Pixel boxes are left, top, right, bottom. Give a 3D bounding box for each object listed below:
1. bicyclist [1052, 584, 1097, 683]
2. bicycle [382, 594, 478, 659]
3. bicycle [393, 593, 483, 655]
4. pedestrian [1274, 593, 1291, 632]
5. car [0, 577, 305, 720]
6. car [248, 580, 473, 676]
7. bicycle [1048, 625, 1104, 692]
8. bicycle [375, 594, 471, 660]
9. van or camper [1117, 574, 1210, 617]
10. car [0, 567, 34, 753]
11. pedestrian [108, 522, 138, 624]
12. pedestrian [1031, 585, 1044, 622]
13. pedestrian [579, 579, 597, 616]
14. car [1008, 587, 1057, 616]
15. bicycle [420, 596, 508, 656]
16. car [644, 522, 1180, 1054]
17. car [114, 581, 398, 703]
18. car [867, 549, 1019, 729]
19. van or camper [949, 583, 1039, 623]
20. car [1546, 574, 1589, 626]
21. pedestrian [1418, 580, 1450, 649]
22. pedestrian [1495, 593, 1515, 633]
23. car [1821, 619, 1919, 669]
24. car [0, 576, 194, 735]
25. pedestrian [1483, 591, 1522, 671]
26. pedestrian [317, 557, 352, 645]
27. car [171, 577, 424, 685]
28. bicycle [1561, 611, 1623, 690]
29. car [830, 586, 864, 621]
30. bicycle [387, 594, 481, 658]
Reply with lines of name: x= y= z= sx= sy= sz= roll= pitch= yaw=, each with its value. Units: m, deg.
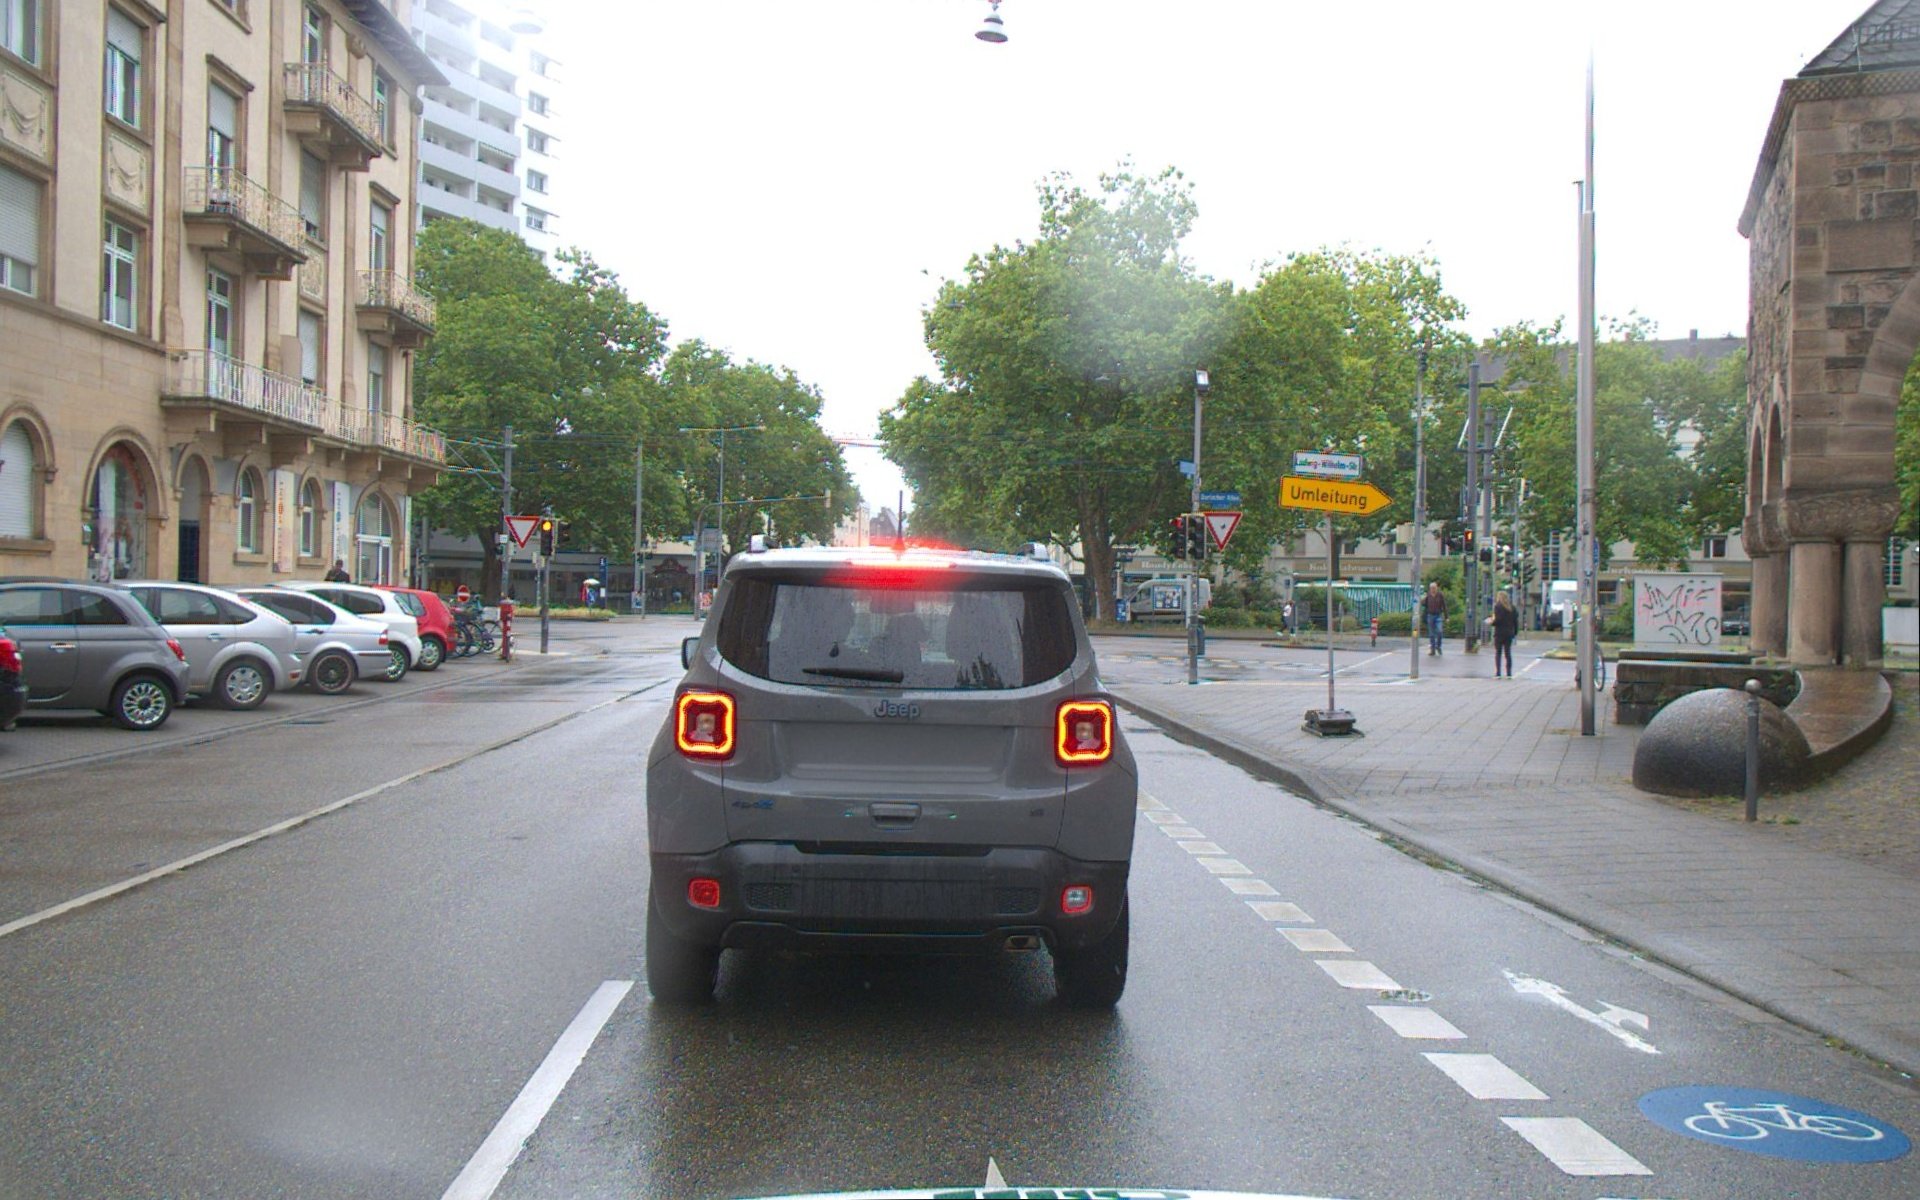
bicyclist: x=1.945 y=0.560 z=28.165 sx=0.673 sy=1.646 sz=0.883 roll=0 pitch=0 yaw=-2
bicycle: x=-10.719 y=0.528 z=33.477 sx=1.774 sy=1.288 sz=0.498 roll=0 pitch=0 yaw=-3
bicycle: x=-11.095 y=0.509 z=35.184 sx=1.728 sy=1.288 sz=0.608 roll=0 pitch=0 yaw=-3
pedestrian: x=13.475 y=0.522 z=69.193 sx=0.600 sy=1.631 sz=0.494 roll=0 pitch=0 yaw=23
car: x=-9.984 y=0.543 z=20.153 sx=3.371 sy=1.585 sz=1.681 roll=1 pitch=0 yaw=-40
car: x=-10.536 y=0.471 z=29.134 sx=3.371 sy=1.585 sz=1.681 roll=1 pitch=0 yaw=-40
bicycle: x=1.949 y=0.968 z=28.161 sx=0.678 sy=1.039 sz=2.657 roll=0 pitch=0 yaw=-2
bicycle: x=-10.692 y=0.539 z=32.931 sx=1.728 sy=1.288 sz=0.522 roll=0 pitch=0 yaw=-3
van or camper: x=11.794 y=-0.293 z=96.075 sx=5.149 sy=2.356 sz=2.091 roll=1 pitch=0 yaw=3
car: x=-10.033 y=0.504 z=14.089 sx=3.521 sy=1.626 sz=1.582 roll=1 pitch=0 yaw=-40
pedestrian: x=-15.330 y=-0.494 z=30.298 sx=0.359 sy=1.854 sz=0.347 roll=0 pitch=-1 yaw=-3
pedestrian: x=4.418 y=0.199 z=93.842 sx=0.637 sy=2.049 sz=0.483 roll=1 pitch=0 yaw=11
pedestrian: x=-18.630 y=-0.115 z=82.861 sx=0.677 sy=1.858 sz=0.621 roll=0 pitch=0 yaw=15
car: x=5.312 y=0.114 z=120.709 sx=3.363 sy=2.049 sz=1.549 roll=0 pitch=-1 yaw=12
bicycle: x=-10.806 y=0.552 z=36.067 sx=1.728 sy=1.288 sz=0.608 roll=0 pitch=0 yaw=-3
car: x=-0.210 y=0.595 z=7.305 sx=1.739 sy=1.716 sz=3.847 roll=0 pitch=0 yaw=-2
car: x=-9.926 y=0.552 z=23.417 sx=3.371 sy=1.585 sz=1.681 roll=1 pitch=0 yaw=-40
car: x=-0.236 y=0.442 z=21.007 sx=1.734 sy=2.049 sz=3.999 roll=1 pitch=0 yaw=-1
van or camper: x=2.582 y=0.229 z=125.813 sx=6.398 sy=2.963 sz=2.492 roll=1 pitch=0 yaw=26
car: x=31.395 y=-0.004 z=85.372 sx=1.868 sy=2.600 sz=4.786 roll=1 pitch=0 yaw=23
pedestrian: x=12.421 y=0.378 z=43.351 sx=0.769 sy=1.790 sz=0.946 roll=0 pitch=0 yaw=14
pedestrian: x=22.102 y=0.519 z=67.053 sx=0.660 sy=1.581 sz=0.761 roll=1 pitch=-1 yaw=27
car: x=30.726 y=1.446 z=55.277 sx=3.368 sy=1.579 sz=1.592 roll=0 pitch=0 yaw=25
car: x=-9.964 y=0.541 z=17.150 sx=3.371 sy=1.585 sz=1.629 roll=1 pitch=0 yaw=-40
pedestrian: x=11.585 y=0.654 z=35.306 sx=0.766 sy=1.674 sz=0.655 roll=0 pitch=0 yaw=19
pedestrian: x=-14.712 y=0.019 z=38.897 sx=0.556 sy=2.049 sz=0.654 roll=1 pitch=0 yaw=-1
car: x=-10.449 y=0.460 z=26.167 sx=3.371 sy=1.585 sz=1.681 roll=1 pitch=0 yaw=-40
bicycle: x=9.921 y=0.767 z=26.006 sx=0.322 sy=1.174 sz=2.076 roll=0 pitch=0 yaw=4
car: x=-5.905 y=0.159 z=85.855 sx=1.688 sy=1.769 sz=3.726 roll=1 pitch=0 yaw=-5
bicycle: x=-10.858 y=0.532 z=34.159 sx=1.774 sy=1.288 sz=0.498 roll=0 pitch=0 yaw=-3
